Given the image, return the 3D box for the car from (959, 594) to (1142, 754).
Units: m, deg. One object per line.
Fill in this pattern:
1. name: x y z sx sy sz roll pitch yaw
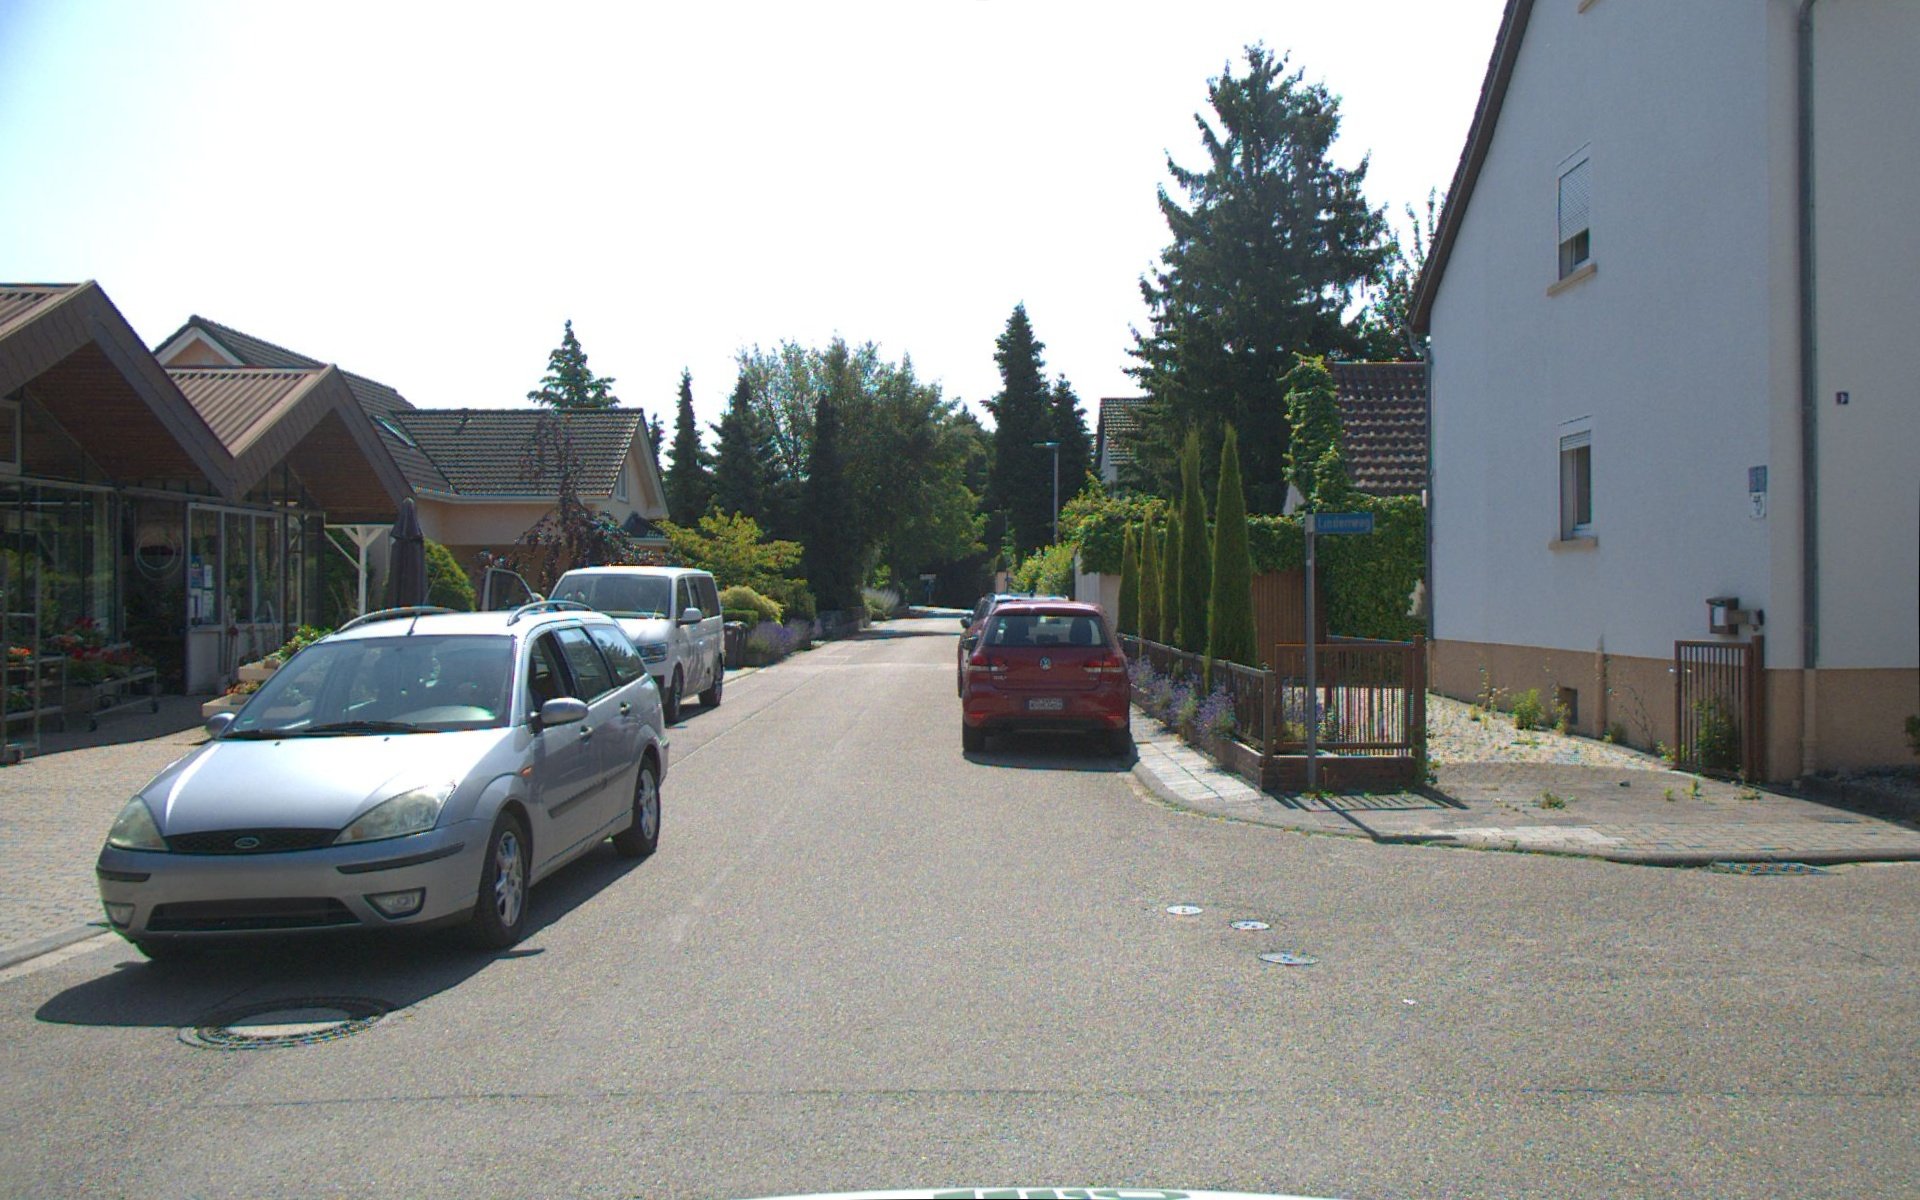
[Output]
1. car: 0.991 0.714 17.980 1.738 1.505 4.002 1 0 3

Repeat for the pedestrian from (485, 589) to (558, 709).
1. pedestrian: -5.857 0.634 22.081 0.704 1.565 0.640 0 1 33

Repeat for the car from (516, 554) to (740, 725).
1. car: -4.302 0.471 22.273 1.889 2.049 4.897 0 0 2

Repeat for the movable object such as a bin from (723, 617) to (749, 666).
1. movable object such as a bin: -4.852 0.886 35.865 0.484 1.042 0.447 -1 0 0

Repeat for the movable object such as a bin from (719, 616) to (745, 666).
1. movable object such as a bin: -4.873 0.879 35.402 0.484 1.042 0.447 -1 0 0

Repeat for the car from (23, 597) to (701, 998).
1. car: -2.749 0.794 8.813 1.716 1.513 4.378 -3 0 4

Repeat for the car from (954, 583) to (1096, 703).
1. car: 0.887 0.589 24.723 1.786 1.643 3.998 1 0 -2
